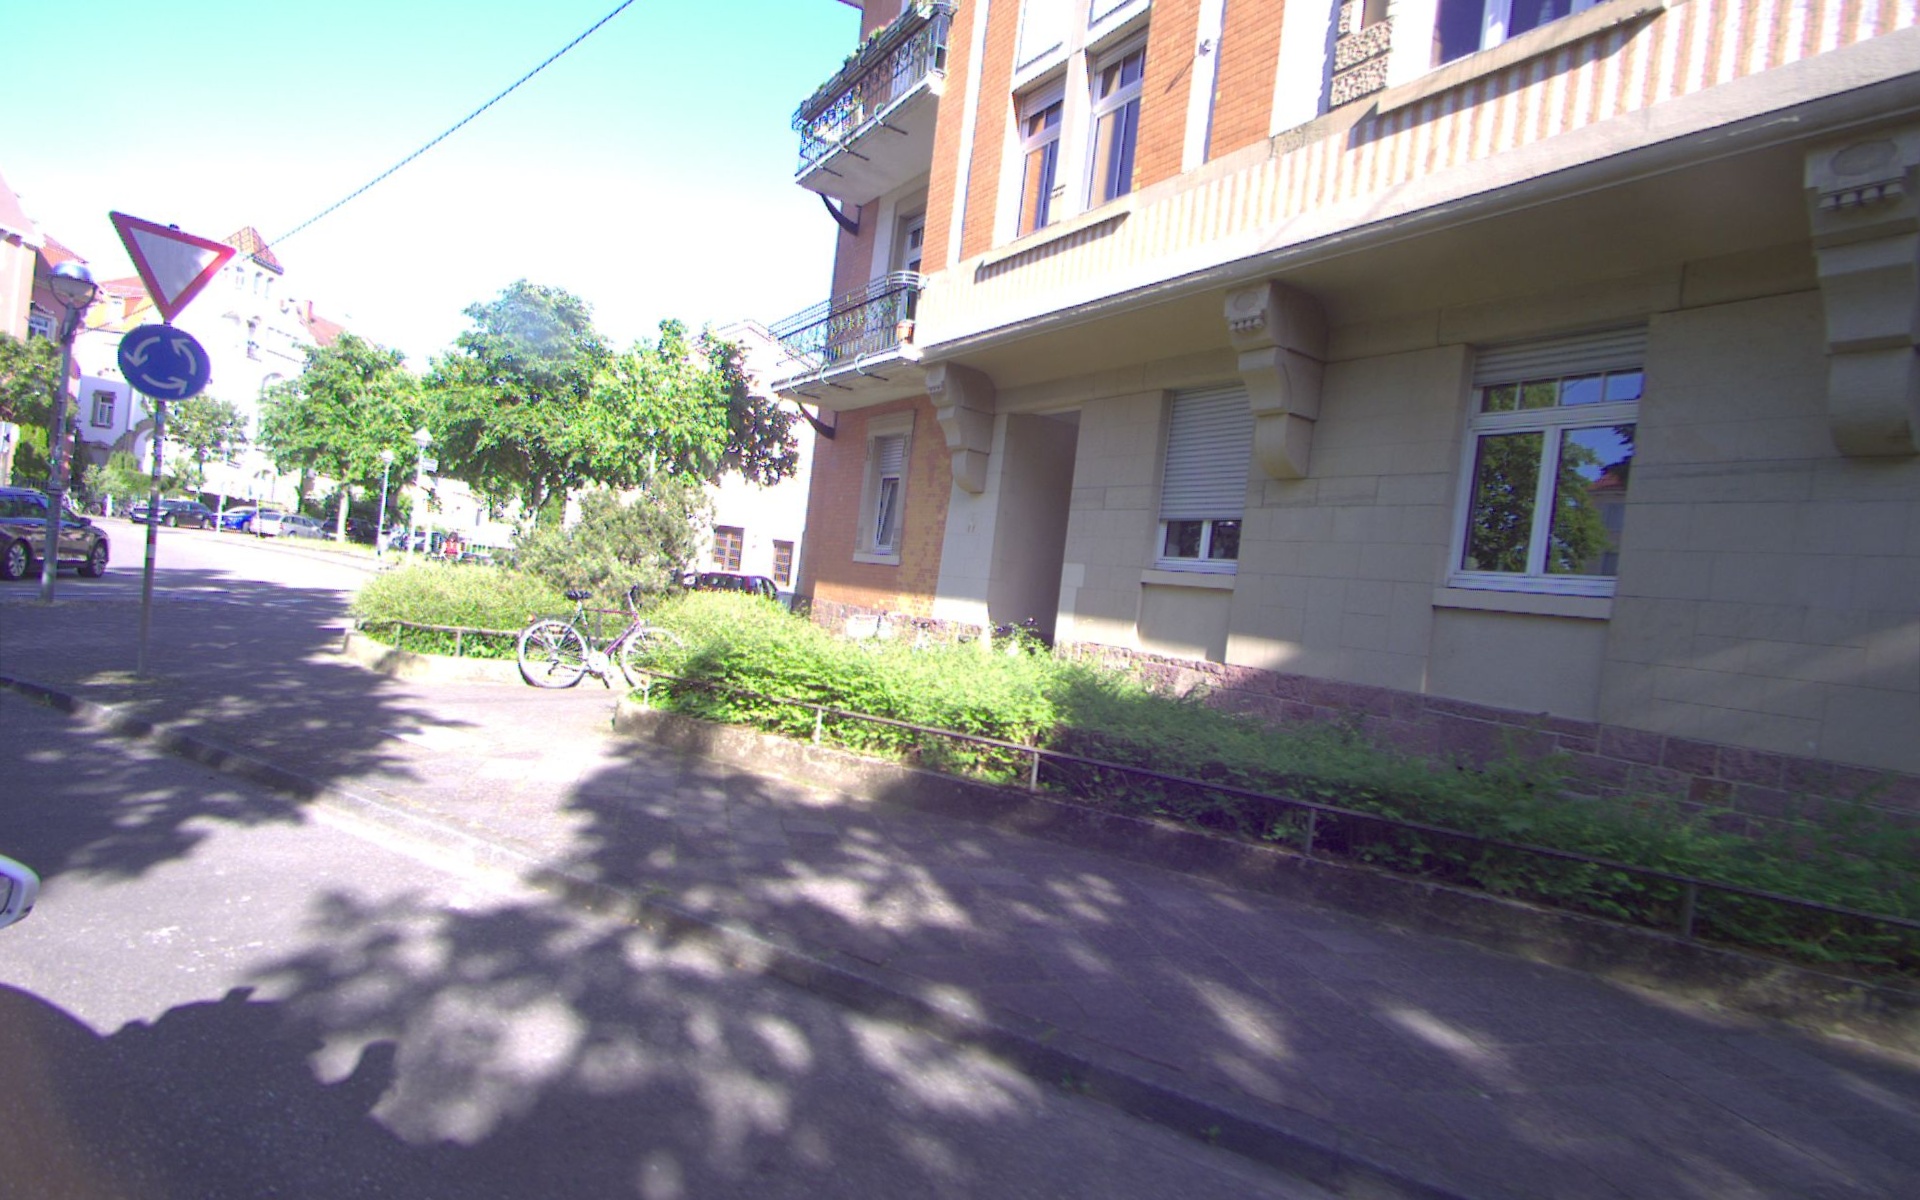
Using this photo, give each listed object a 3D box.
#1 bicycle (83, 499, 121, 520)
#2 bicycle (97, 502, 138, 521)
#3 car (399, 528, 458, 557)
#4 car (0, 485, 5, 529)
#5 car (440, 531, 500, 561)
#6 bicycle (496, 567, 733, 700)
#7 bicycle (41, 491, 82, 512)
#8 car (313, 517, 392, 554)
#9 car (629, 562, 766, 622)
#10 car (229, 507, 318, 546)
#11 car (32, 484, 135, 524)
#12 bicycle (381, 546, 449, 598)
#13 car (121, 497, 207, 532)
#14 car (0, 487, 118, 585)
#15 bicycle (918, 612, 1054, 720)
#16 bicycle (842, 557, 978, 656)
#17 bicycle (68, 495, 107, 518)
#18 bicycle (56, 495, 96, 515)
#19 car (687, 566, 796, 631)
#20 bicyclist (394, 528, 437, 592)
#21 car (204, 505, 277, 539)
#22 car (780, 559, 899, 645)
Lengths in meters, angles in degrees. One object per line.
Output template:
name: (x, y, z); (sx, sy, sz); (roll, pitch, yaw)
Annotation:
bicycle: (-45.270, -4.773, 53.060); (2.244, 0.833, 0.479); (7, 1, 21)
bicycle: (-45.069, -4.732, 53.815); (2.244, 0.796, 0.626); (7, 1, 21)
car: (-33.842, -3.658, 64.108); (1.629, 1.455, 3.457); (7, 0, 3)
car: (-36.371, -3.566, 35.633); (3.577, 1.571, 1.560); (7, 1, 3)
car: (-31.381, -3.443, 64.544); (1.763, 1.473, 3.783); (7, 0, 1)
bicycle: (-3.529, 0.380, 10.424); (2.209, 1.174, 0.384); (7, 1, -35)
bicycle: (-45.341, -4.958, 50.755); (1.990, 0.810, 0.479); (7, 1, 16)
car: (-30.679, -3.234, 50.892); (1.531, 1.473, 3.737); (7, 0, 1)
car: (-8.489, -0.257, 32.505); (3.950, 1.404, 1.730); (7, 1, -25)
car: (-34.199, -3.625, 50.257); (1.531, 1.473, 3.976); (7, 0, 1)
car: (-41.634, -4.550, 47.896); (1.728, 1.386, 3.642); (7, 0, -3)
bicycle: (-13.219, -0.681, 24.393); (1.843, 1.049, 0.507); (7, 1, 31)
car: (-42.021, -4.490, 53.215); (1.728, 1.386, 3.640); (7, 0, -5)
car: (-16.210, -1.130, 16.832); (1.694, 1.502, 4.127); (6, 1, -17)
bicycle: (0.307, 0.751, 11.169); (1.549, 1.074, 0.268); (6, 1, -35)
bicycle: (-0.606, 0.098, 12.684); (1.668, 1.074, 0.384); (7, 1, -35)
bicycle: (-45.200, -4.837, 52.110); (2.244, 0.926, 0.479); (7, 1, 21)
bicycle: (-45.131, -4.853, 51.368); (2.244, 0.810, 0.479); (7, 1, 21)
car: (-5.867, -0.008, 27.403); (1.542, 1.491, 3.515); (7, 0, 10)
bicyclist: (-13.227, -0.972, 24.444); (0.729, 1.434, 0.509); (7, 2, 30)
car: (-41.672, -4.501, 58.360); (1.640, 1.506, 3.475); (7, 0, 0)
car: (-3.291, 0.087, 28.339); (1.962, 2.039, 4.001); (7, 0, 11)
